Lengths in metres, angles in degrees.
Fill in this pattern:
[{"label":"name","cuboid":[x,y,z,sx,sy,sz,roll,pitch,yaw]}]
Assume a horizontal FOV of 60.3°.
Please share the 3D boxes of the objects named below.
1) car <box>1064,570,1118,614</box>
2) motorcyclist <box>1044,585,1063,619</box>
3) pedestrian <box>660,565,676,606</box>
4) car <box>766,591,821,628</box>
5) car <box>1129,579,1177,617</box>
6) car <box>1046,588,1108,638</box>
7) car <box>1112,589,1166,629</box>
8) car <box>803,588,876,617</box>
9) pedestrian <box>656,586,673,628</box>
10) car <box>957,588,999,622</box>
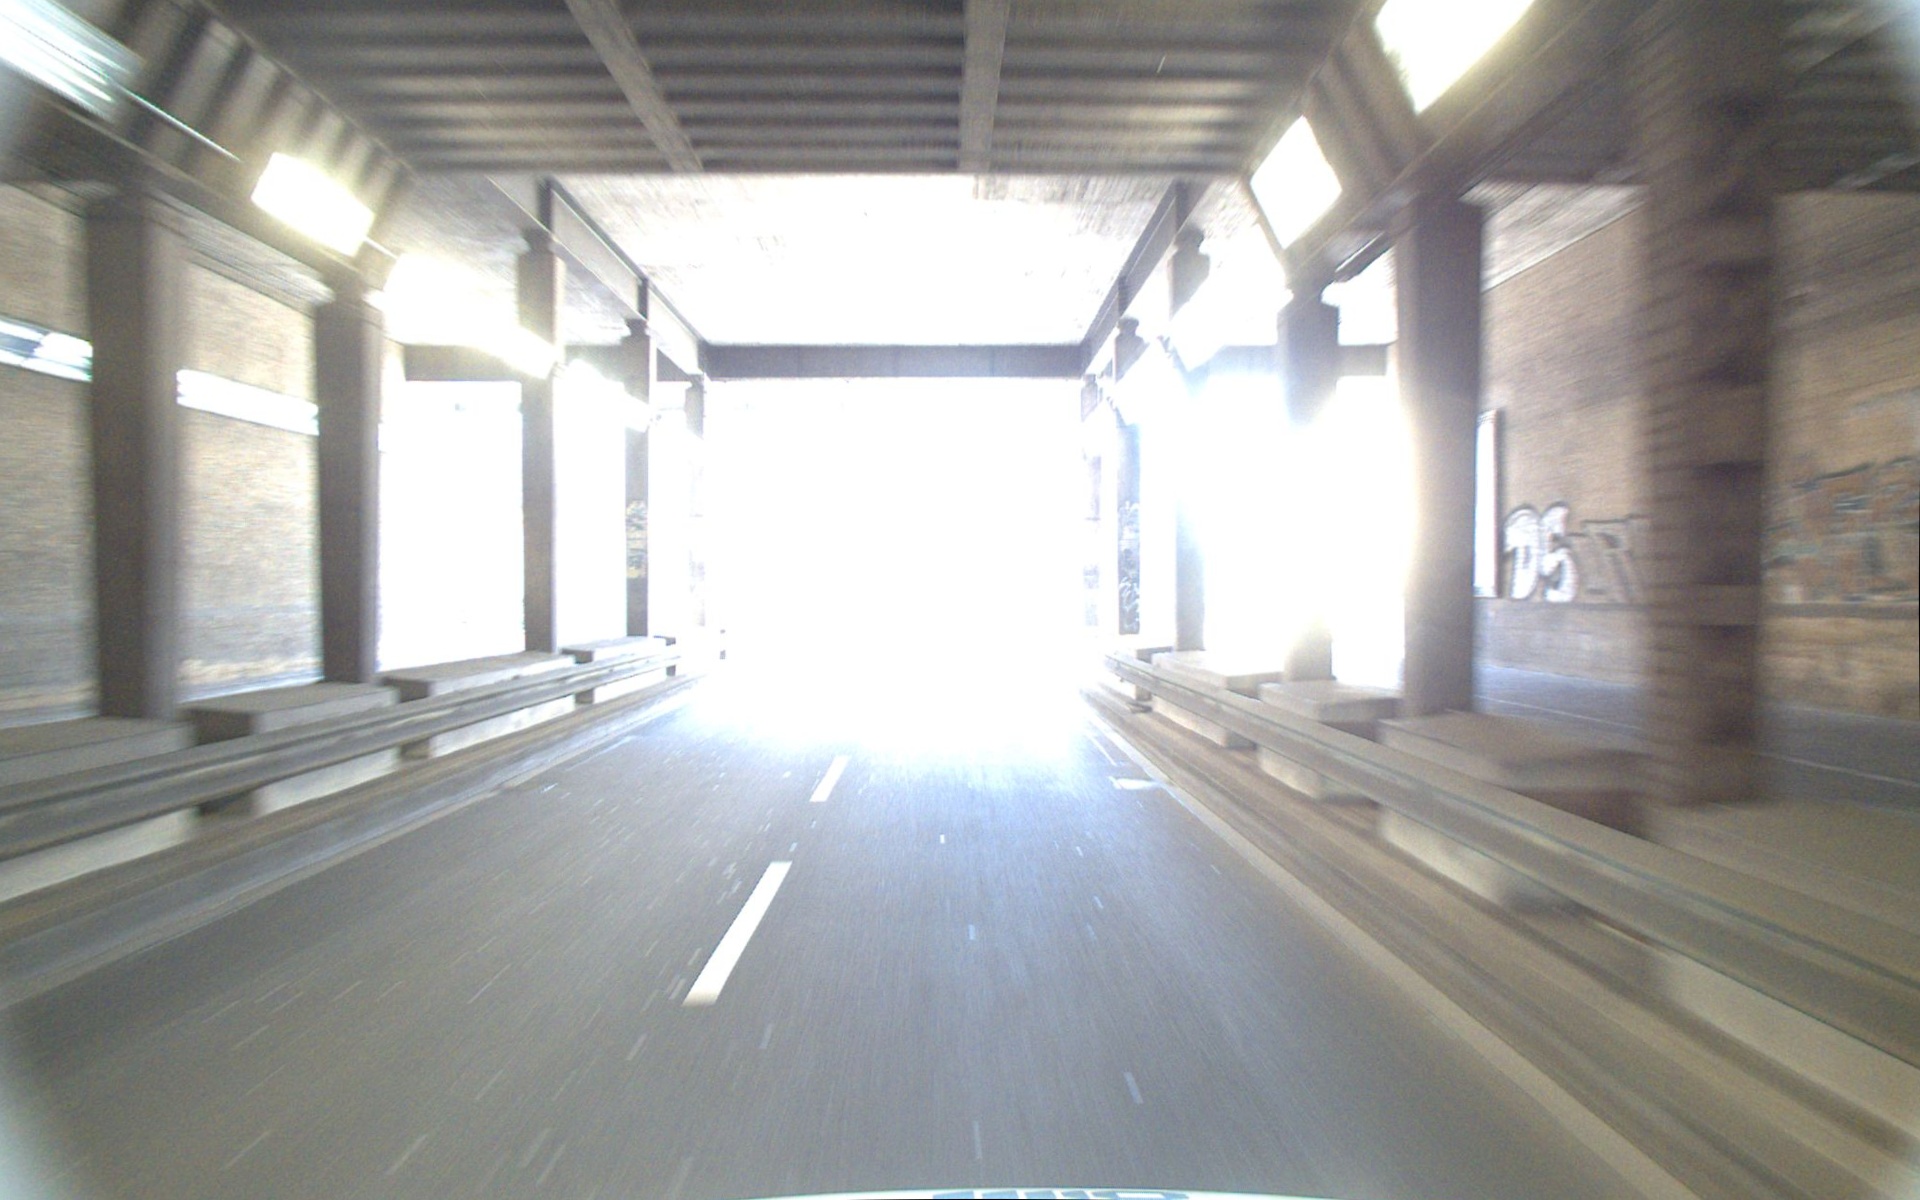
[{"label":"car","cuboid":[6.343,-0.388,79.624,2.125,2.044,4.812,-1,0,10]},{"label":"motorcyclist","cuboid":[3.963,0.073,70.037,0.760,1.448,0.892,0,0,8]},{"label":"pedestrian","cuboid":[-12.001,-0.579,67.874,0.482,1.668,0.620,0,0,-27]},{"label":"car","cuboid":[-6.720,0.354,67.026,1.716,1.429,4.416,0,1,1]},{"label":"car","cuboid":[8.416,-0.086,71.815,1.775,1.610,4.004,0,0,11]},{"label":"car","cuboid":[3.788,0.401,53.750,1.906,1.555,4.092,0,1,4]},{"label":"car","cuboid":[7.092,0.332,65.106,1.694,1.527,4.004,0,1,12]},{"label":"car","cuboid":[-6.850,0.116,94.234,3.850,1.601,1.899,0,1,-44]},{"label":"pedestrian","cuboid":[-11.813,0.271,66.123,0.507,1.668,0.620,0,0,-27]},{"label":"car","cuboid":[0.776,0.194,70.758,1.750,1.418,4.106,0,0,1]}]
